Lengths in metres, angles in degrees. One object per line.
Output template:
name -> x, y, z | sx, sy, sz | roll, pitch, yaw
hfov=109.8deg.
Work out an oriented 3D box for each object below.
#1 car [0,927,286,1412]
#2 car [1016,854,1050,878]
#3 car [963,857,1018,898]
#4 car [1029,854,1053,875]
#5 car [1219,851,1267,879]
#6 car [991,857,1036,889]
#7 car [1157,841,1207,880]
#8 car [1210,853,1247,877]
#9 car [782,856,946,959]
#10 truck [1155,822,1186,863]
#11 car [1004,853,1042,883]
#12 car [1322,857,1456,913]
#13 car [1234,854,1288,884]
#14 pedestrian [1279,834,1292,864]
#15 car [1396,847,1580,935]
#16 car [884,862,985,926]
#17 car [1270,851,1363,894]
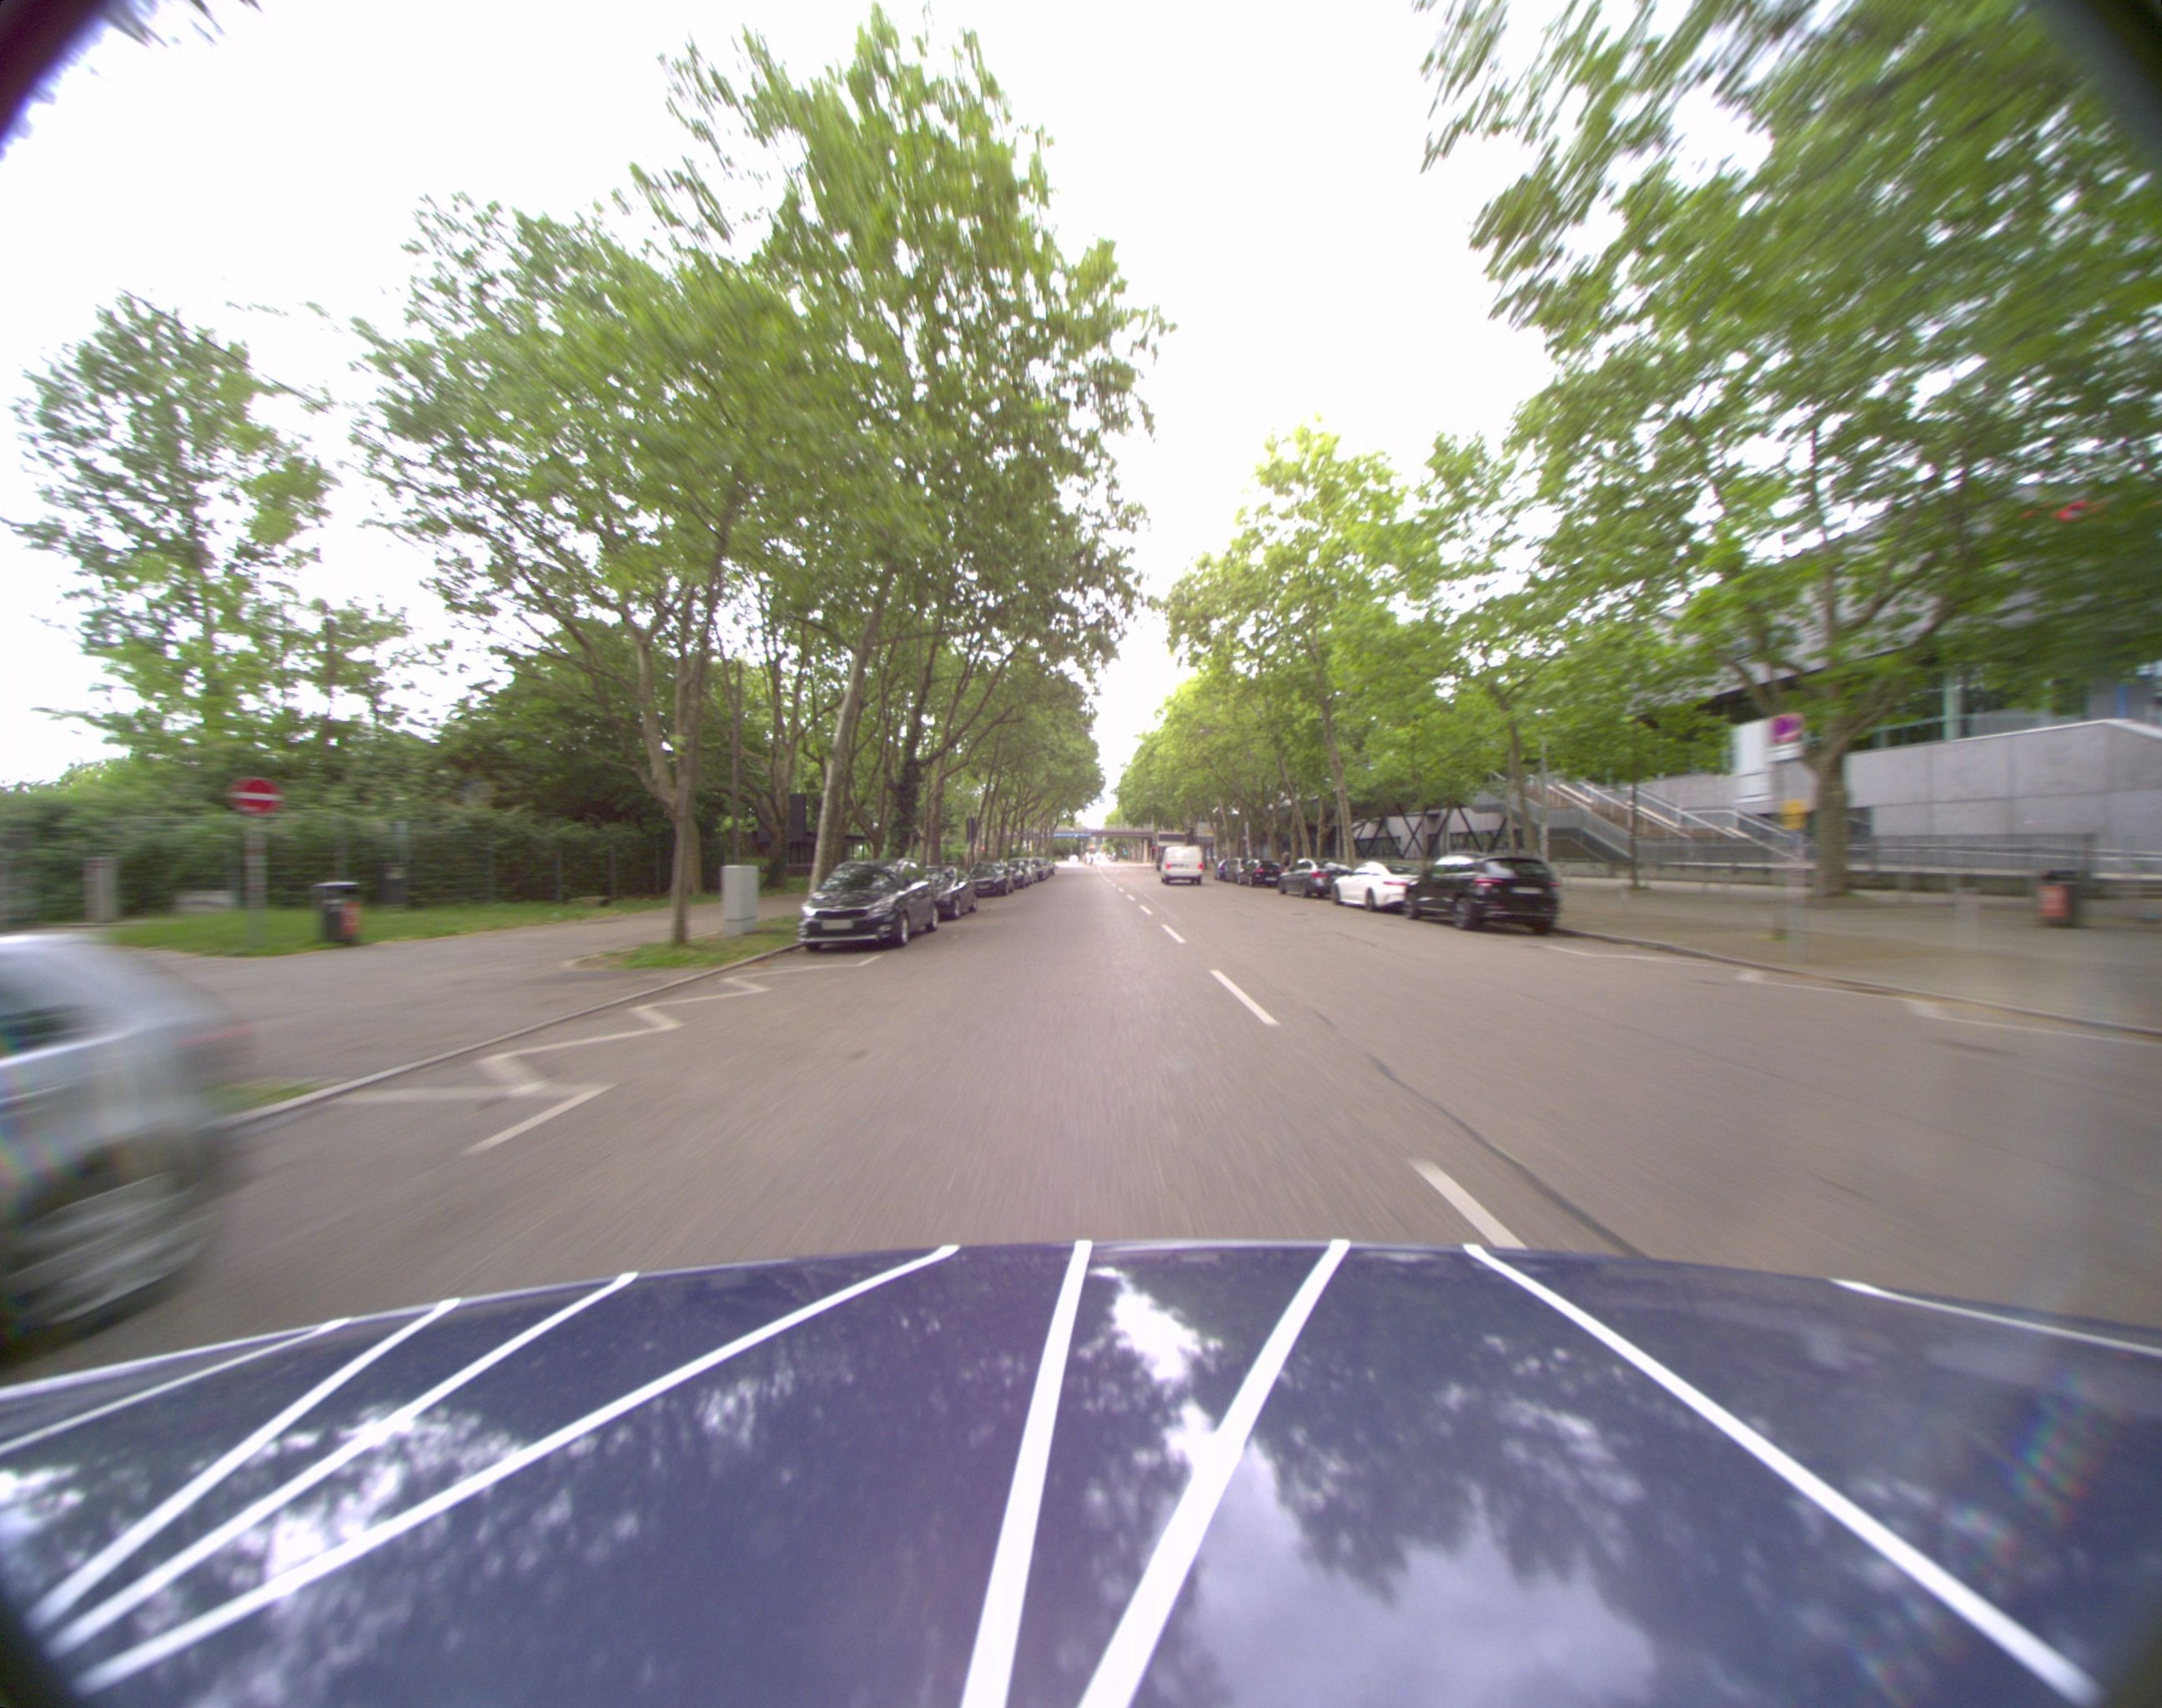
car -> -4.310, 1.084, 1.278 | 1.623, 1.453, 3.946 | -3, 0, 3
car -> -3.201, 0.777, 51.429 | 1.734, 1.468, 4.982 | -3, 0, 2
car -> -3.848, 0.952, 33.103 | 1.781, 1.544, 4.396 | -3, 0, 0
car -> -3.188, 0.790, 61.586 | 1.734, 1.560, 4.079 | -3, 0, -1
car -> 9.386, 0.635, 44.263 | 1.699, 1.470, 3.649 | 3, 0, -5
car -> -3.494, 0.969, 39.891 | 1.743, 1.462, 4.151 | -3, 0, 2
car -> 5.329, 0.313, 40.835 | 2.064, 1.950, 5.466 | 0, 0, 1
car -> 9.473, 0.668, 48.992 | 1.698, 1.354, 4.001 | 4, 0, 3
car -> -4.017, 0.896, 14.891 | 1.834, 1.593, 4.467 | -3, 0, 0
truck -> 9.267, -1.167, 77.627 | 2.915, 3.846, 9.471 | 1, 1, 8
car -> -3.502, 0.812, 46.537 | 1.783, 1.608, 4.224 | -3, 0, 1
car -> 8.700, 0.805, 21.981 | 1.820, 1.354, 5.005 | 1, 0, 0
car -> 9.221, 0.716, 39.204 | 1.712, 1.374, 4.331 | 3, 0, 1
pedestrian -> 12.845, -0.315, 47.712 | 0.508, 1.829, 0.826 | -1, 1, -5
car -> 8.627, 0.687, 16.611 | 1.822, 1.585, 4.345 | 2, 1, 3
car -> -3.909, 1.017, 20.965 | 1.780, 1.410, 4.287 | -3, 0, 1
car -> 8.764, 0.624, 28.784 | 1.824, 1.476, 4.992 | 1, 0, -2
